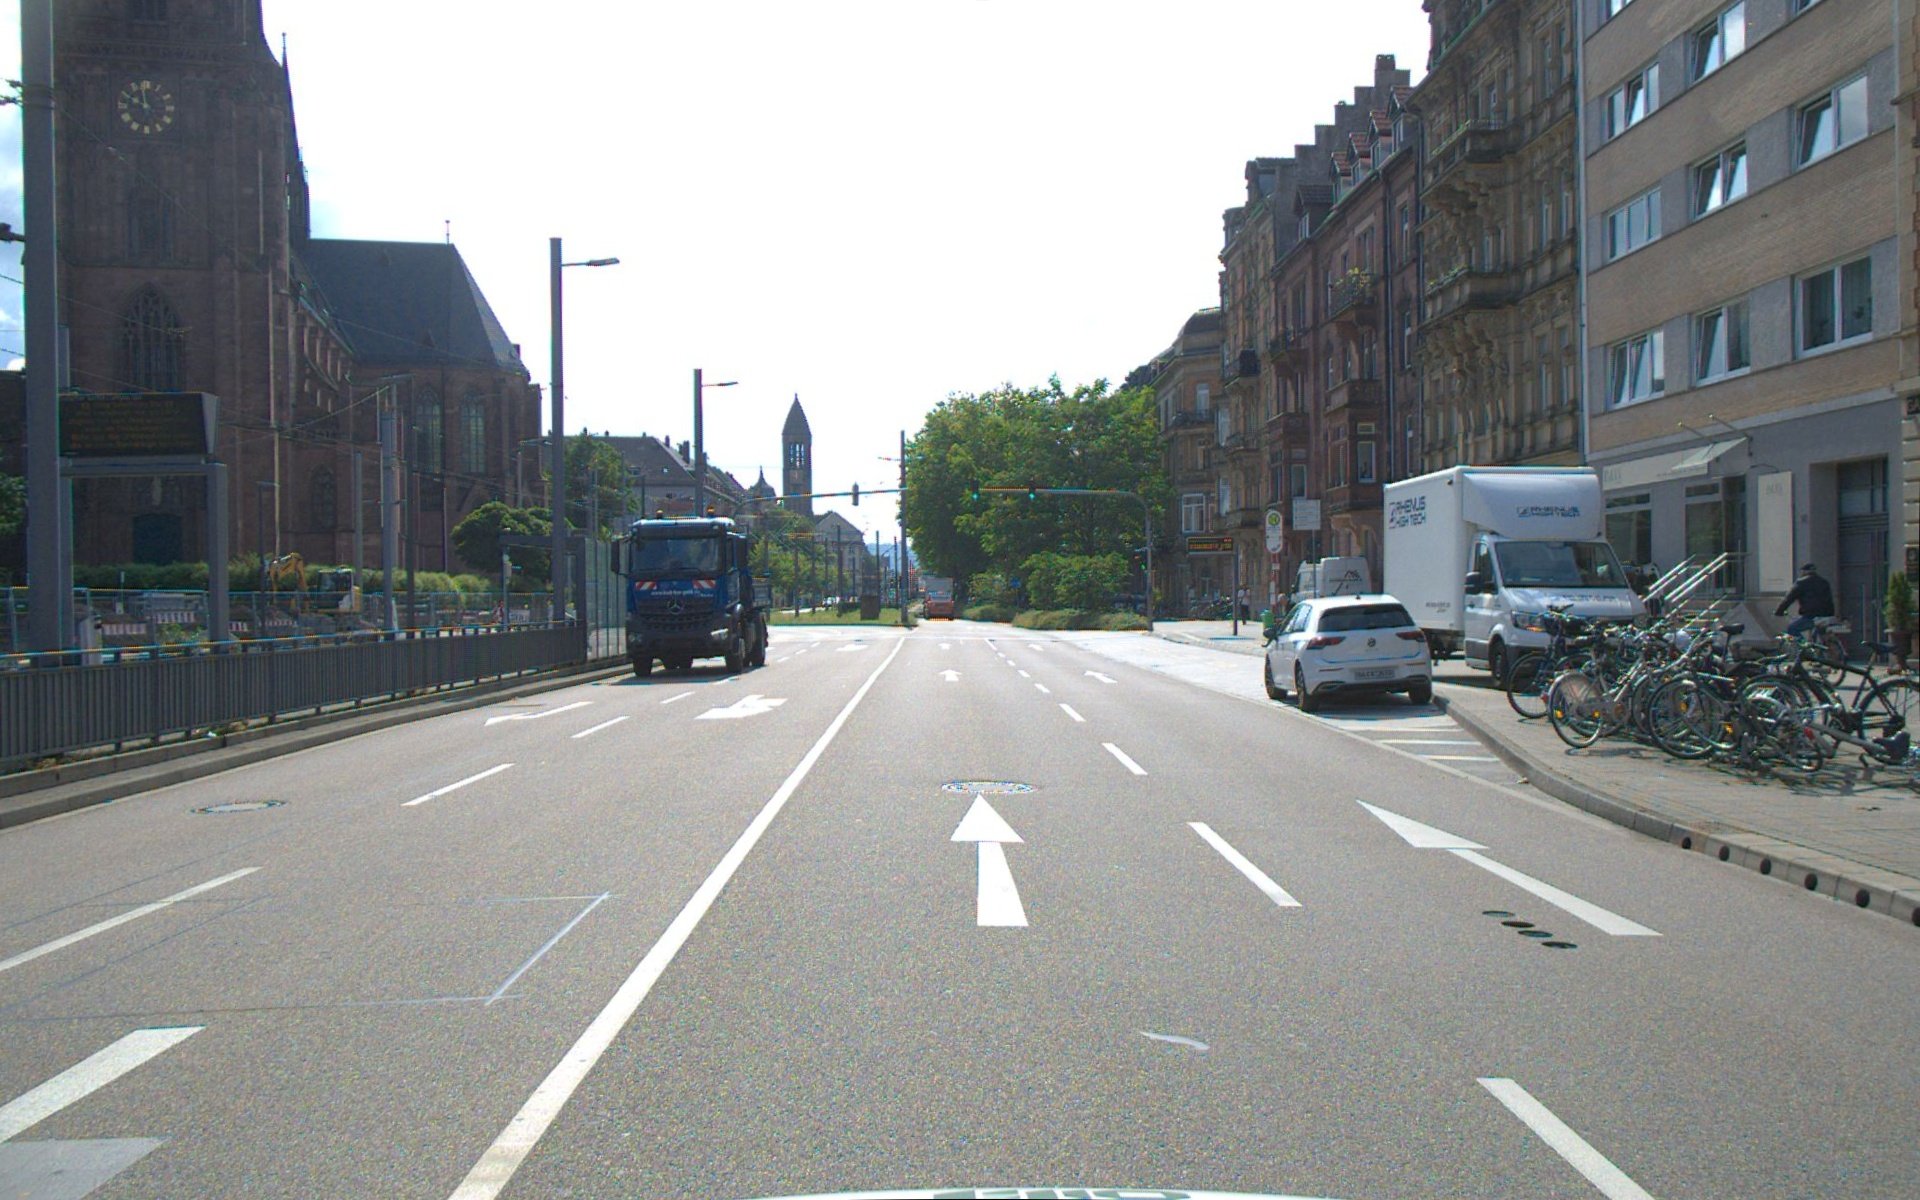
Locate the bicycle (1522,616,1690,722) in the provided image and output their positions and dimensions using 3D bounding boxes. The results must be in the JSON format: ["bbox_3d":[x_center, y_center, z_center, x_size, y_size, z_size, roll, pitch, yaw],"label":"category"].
[{"bbox_3d":[7.011,0.739,17.950,1.724,1.104,0.372,0,1,-7],"label":"bicycle"}]

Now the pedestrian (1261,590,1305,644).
[{"bbox_3d":[8.217,0.427,42.048,0.737,1.339,0.810,1,-1,-39],"label":"pedestrian"}]

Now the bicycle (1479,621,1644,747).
[{"bbox_3d":[5.598,0.767,15.377,1.573,1.104,0.370,-1,1,-21],"label":"bicycle"}]

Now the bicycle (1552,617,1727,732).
[{"bbox_3d":[6.810,0.734,16.573,1.728,1.104,0.371,0,1,-13],"label":"bicycle"}]

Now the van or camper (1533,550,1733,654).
[{"bbox_3d":[14.260,0.020,35.443,1.953,1.938,5.297,-3,0,-1],"label":"van or camper"}]

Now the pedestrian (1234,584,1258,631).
[{"bbox_3d":[12.701,0.339,73.446,0.868,2.049,0.996,1,0,-1],"label":"pedestrian"}]

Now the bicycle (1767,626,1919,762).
[{"bbox_3d":[7.680,0.774,13.775,1.722,1.104,0.372,0,1,1],"label":"bicycle"}]

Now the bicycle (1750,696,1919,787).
[{"bbox_3d":[7.031,1.069,12.569,0.632,0.596,1.744,-1,0,-41],"label":"bicycle"}]

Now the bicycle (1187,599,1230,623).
[{"bbox_3d":[13.093,0.569,87.061,2.147,1.201,0.683,-1,0,-6],"label":"bicycle"}]

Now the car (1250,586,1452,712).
[{"bbox_3d":[5.333,0.634,23.149,1.754,1.462,4.343,-5,0,1],"label":"car"}]

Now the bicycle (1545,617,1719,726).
[{"bbox_3d":[7.063,0.740,17.401,1.724,1.104,0.372,0,1,-7],"label":"bicycle"}]

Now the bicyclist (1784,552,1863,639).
[{"bbox_3d":[12.292,-0.055,23.564,0.693,1.168,0.813,1,-4,1],"label":"bicyclist"}]

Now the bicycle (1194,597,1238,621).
[{"bbox_3d":[13.262,0.483,85.622,2.147,1.201,0.683,-1,0,-6],"label":"bicycle"}]

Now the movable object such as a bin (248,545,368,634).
[{"bbox_3d":[-29.125,-0.472,74.100,2.609,3.796,5.598,-1,0,7],"label":"movable object such as a bin"}]

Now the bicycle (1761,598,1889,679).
[{"bbox_3d":[12.278,0.574,23.549,0.689,1.066,2.208,1,-4,1],"label":"bicycle"}]

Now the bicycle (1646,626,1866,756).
[{"bbox_3d":[6.917,0.783,14.404,1.722,1.104,0.372,0,1,1],"label":"bicycle"}]

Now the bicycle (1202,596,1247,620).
[{"bbox_3d":[13.457,0.400,84.213,2.147,1.201,0.683,-1,0,-6],"label":"bicycle"}]

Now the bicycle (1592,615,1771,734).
[{"bbox_3d":[7.068,0.715,16.191,1.728,1.104,0.371,0,1,-13],"label":"bicycle"}]

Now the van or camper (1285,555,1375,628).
[{"bbox_3d":[13.430,-0.309,60.392,1.953,2.517,5.564,-1,0,-1],"label":"van or camper"}]

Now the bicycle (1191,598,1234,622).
[{"bbox_3d":[13.183,0.525,86.327,2.147,1.201,0.683,-1,0,-6],"label":"bicycle"}]

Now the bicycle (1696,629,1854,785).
[{"bbox_3d":[6.519,0.821,13.310,0.364,1.090,1.764,0,1,-1],"label":"bicycle"}]

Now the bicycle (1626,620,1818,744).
[{"bbox_3d":[7.096,0.747,15.402,1.726,1.104,0.371,0,1,-11],"label":"bicycle"}]

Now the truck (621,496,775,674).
[{"bbox_3d":[-5.917,-0.327,38.439,2.413,3.712,7.449,-1,0,-1],"label":"truck"}]

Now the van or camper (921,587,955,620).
[{"bbox_3d":[-1.536,0.242,113.349,1.969,1.948,4.517,1,-4,-5],"label":"van or camper"}]

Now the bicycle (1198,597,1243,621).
[{"bbox_3d":[13.375,0.445,84.976,2.147,1.201,0.683,-1,0,-6],"label":"bicycle"}]

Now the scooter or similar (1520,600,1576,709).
[{"bbox_3d":[6.943,0.627,19.552,0.361,1.235,1.253,1,0,8],"label":"scooter or similar"}]

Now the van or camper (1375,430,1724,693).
[{"bbox_3d":[8.671,-0.511,25.475,2.656,3.389,7.640,-1,0,0],"label":"van or camper"}]

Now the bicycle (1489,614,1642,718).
[{"bbox_3d":[6.740,0.724,18.415,1.730,1.104,0.371,0,1,-17],"label":"bicycle"}]

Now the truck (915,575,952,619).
[{"bbox_3d":[-2.251,-0.214,143.950,3.105,3.344,7.294,0,-4,0],"label":"truck"}]
